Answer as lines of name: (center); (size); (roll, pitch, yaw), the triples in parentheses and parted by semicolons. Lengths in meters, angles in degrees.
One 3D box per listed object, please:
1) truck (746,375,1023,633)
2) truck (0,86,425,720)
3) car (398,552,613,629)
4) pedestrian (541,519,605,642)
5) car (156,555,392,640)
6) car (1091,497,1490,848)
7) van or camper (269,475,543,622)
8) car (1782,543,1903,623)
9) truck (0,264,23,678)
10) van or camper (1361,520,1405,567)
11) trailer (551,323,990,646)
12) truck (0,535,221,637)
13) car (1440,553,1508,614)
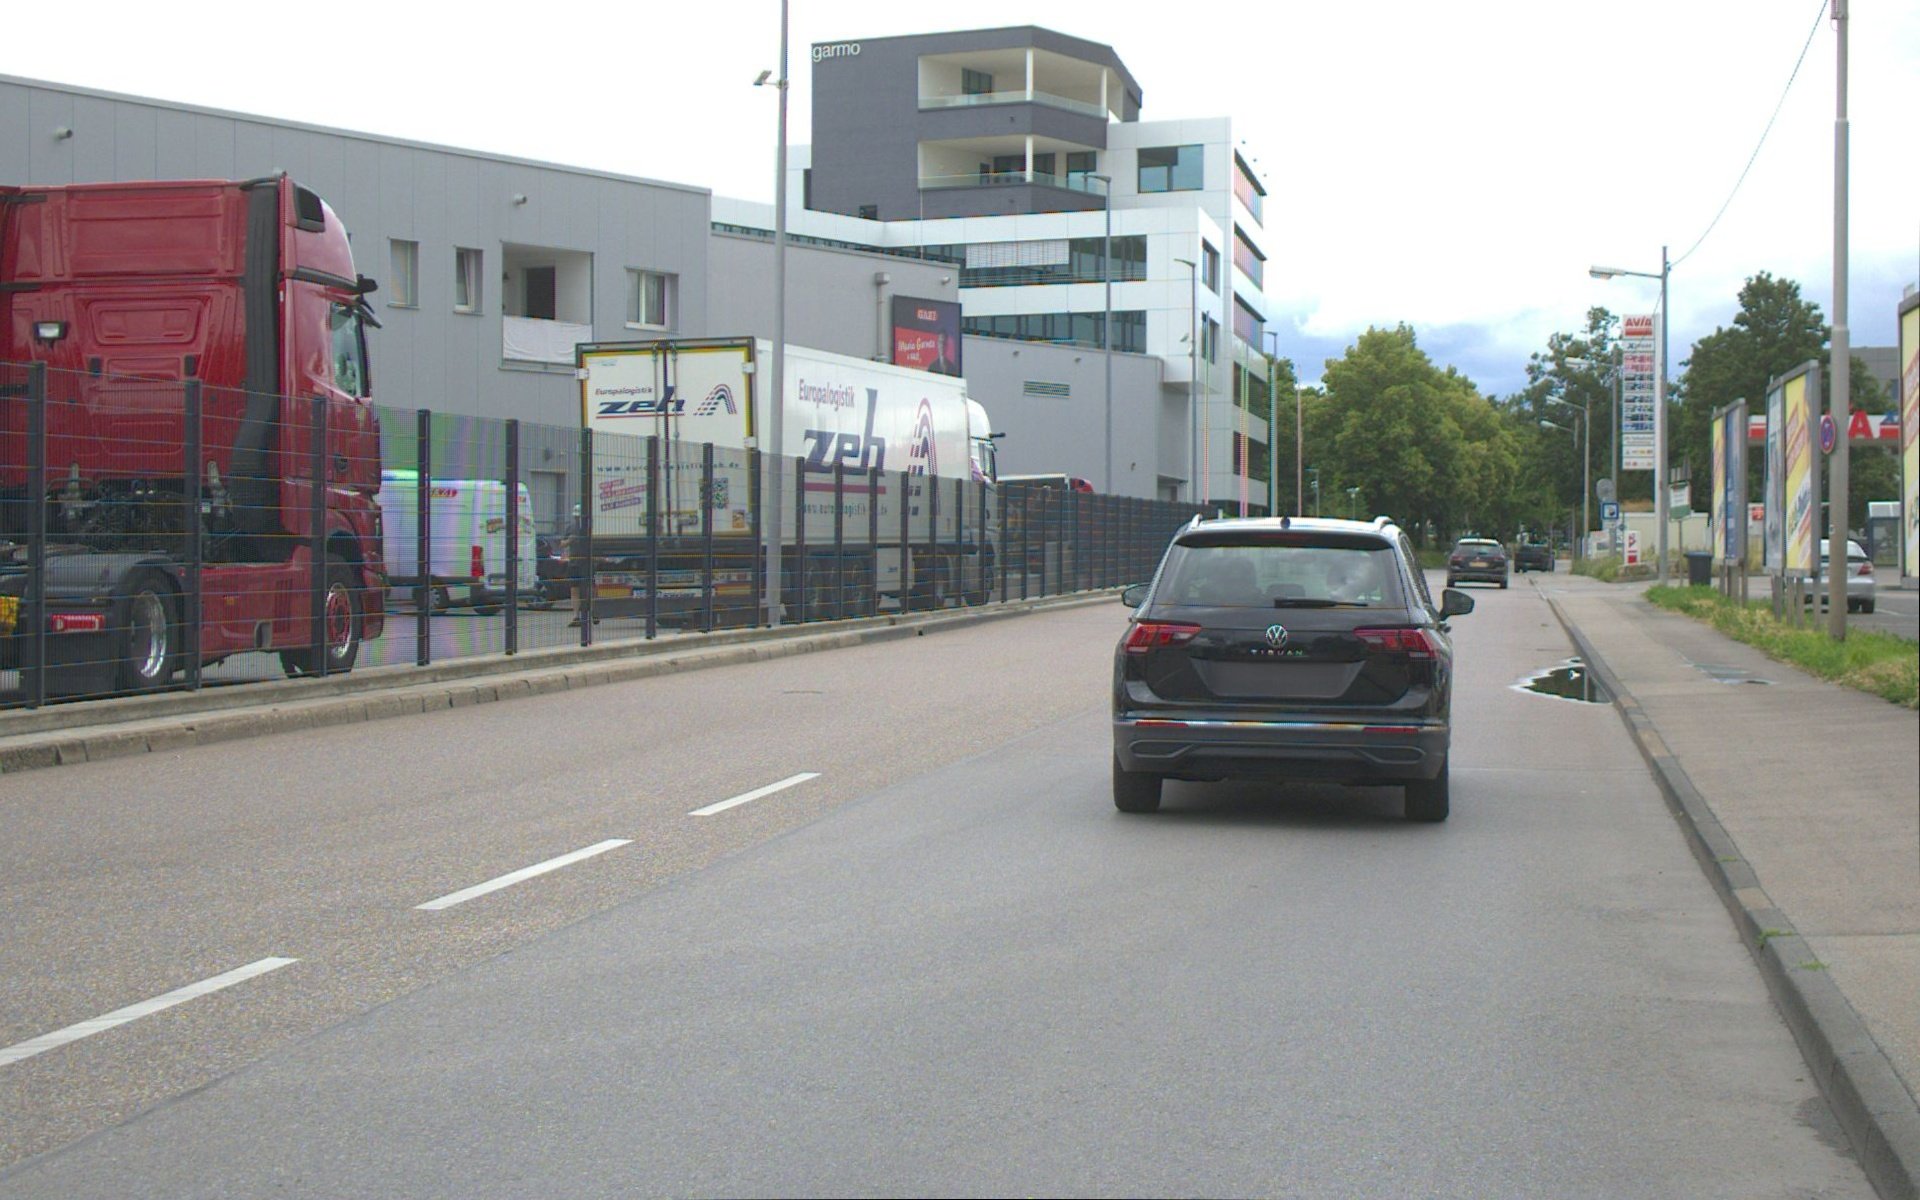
truck: (-1.214, -1.615, 60.734); (3.129, 4.103, 6.938); (-4, -1, 12)
truck: (-6.521, -1.275, 25.412); (2.923, 4.007, 6.938); (0, 0, 10)
car: (-9.366, -0.214, 70.854); (3.993, 1.547, 1.997); (0, 0, 29)
pedestrian: (-5.774, -0.291, 51.377); (0.698, 1.823, 0.823); (0, 0, 14)
car: (-12.868, -0.058, 64.486); (3.993, 1.547, 1.997); (0, 0, 29)
car: (1.906, 0.300, 19.679); (1.994, 1.678, 4.371); (1, 3, 6)
van or camper: (-10.747, -0.993, 66.598); (4.979, 2.753, 2.101); (0, 0, 28)
car: (17.232, -0.337, 67.303); (1.890, 1.440, 4.427); (2, 1, 10)
truck: (-12.060, -1.263, 32.746); (5.596, 4.007, 2.932); (0, 0, -5)
van or camper: (20.639, -2.761, 167.596); (1.994, 2.248, 3.998); (0, 1, 9)
trailer: (-2.582, -1.617, 54.336); (3.134, 4.247, 14.012); (-4, 0, 12)
truck: (-15.069, -0.252, 57.830); (4.921, 1.646, 2.224); (0, 0, 29)
car: (15.453, -0.516, 103.406); (1.994, 1.744, 3.999); (0, 1, 8)
